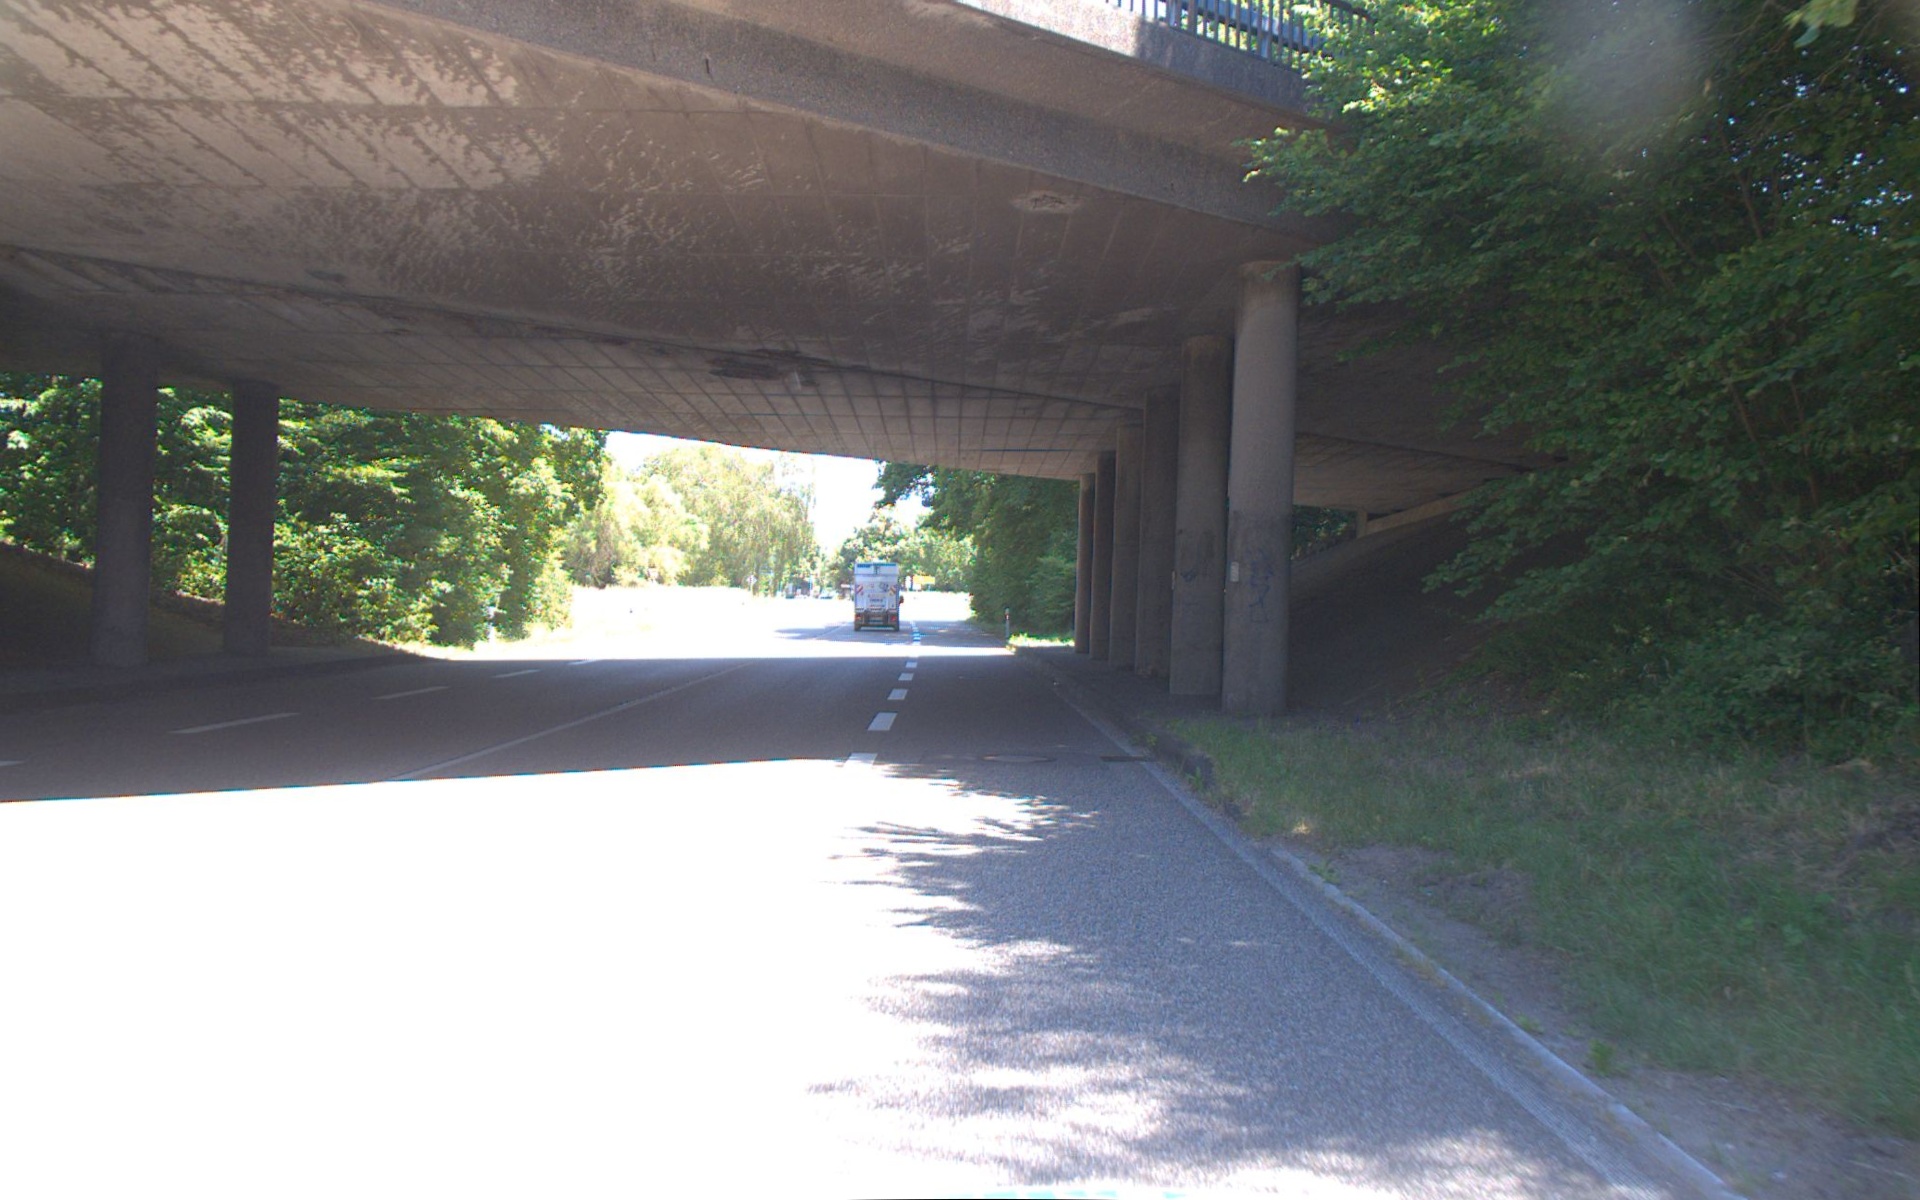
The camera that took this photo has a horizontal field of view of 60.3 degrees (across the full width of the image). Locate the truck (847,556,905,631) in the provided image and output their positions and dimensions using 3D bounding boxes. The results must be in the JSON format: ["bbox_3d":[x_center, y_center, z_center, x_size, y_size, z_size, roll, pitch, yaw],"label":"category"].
[{"bbox_3d":[-3.766,-0.333,73.977,2.483,3.190,5.358,1,1,-3],"label":"truck"}]
